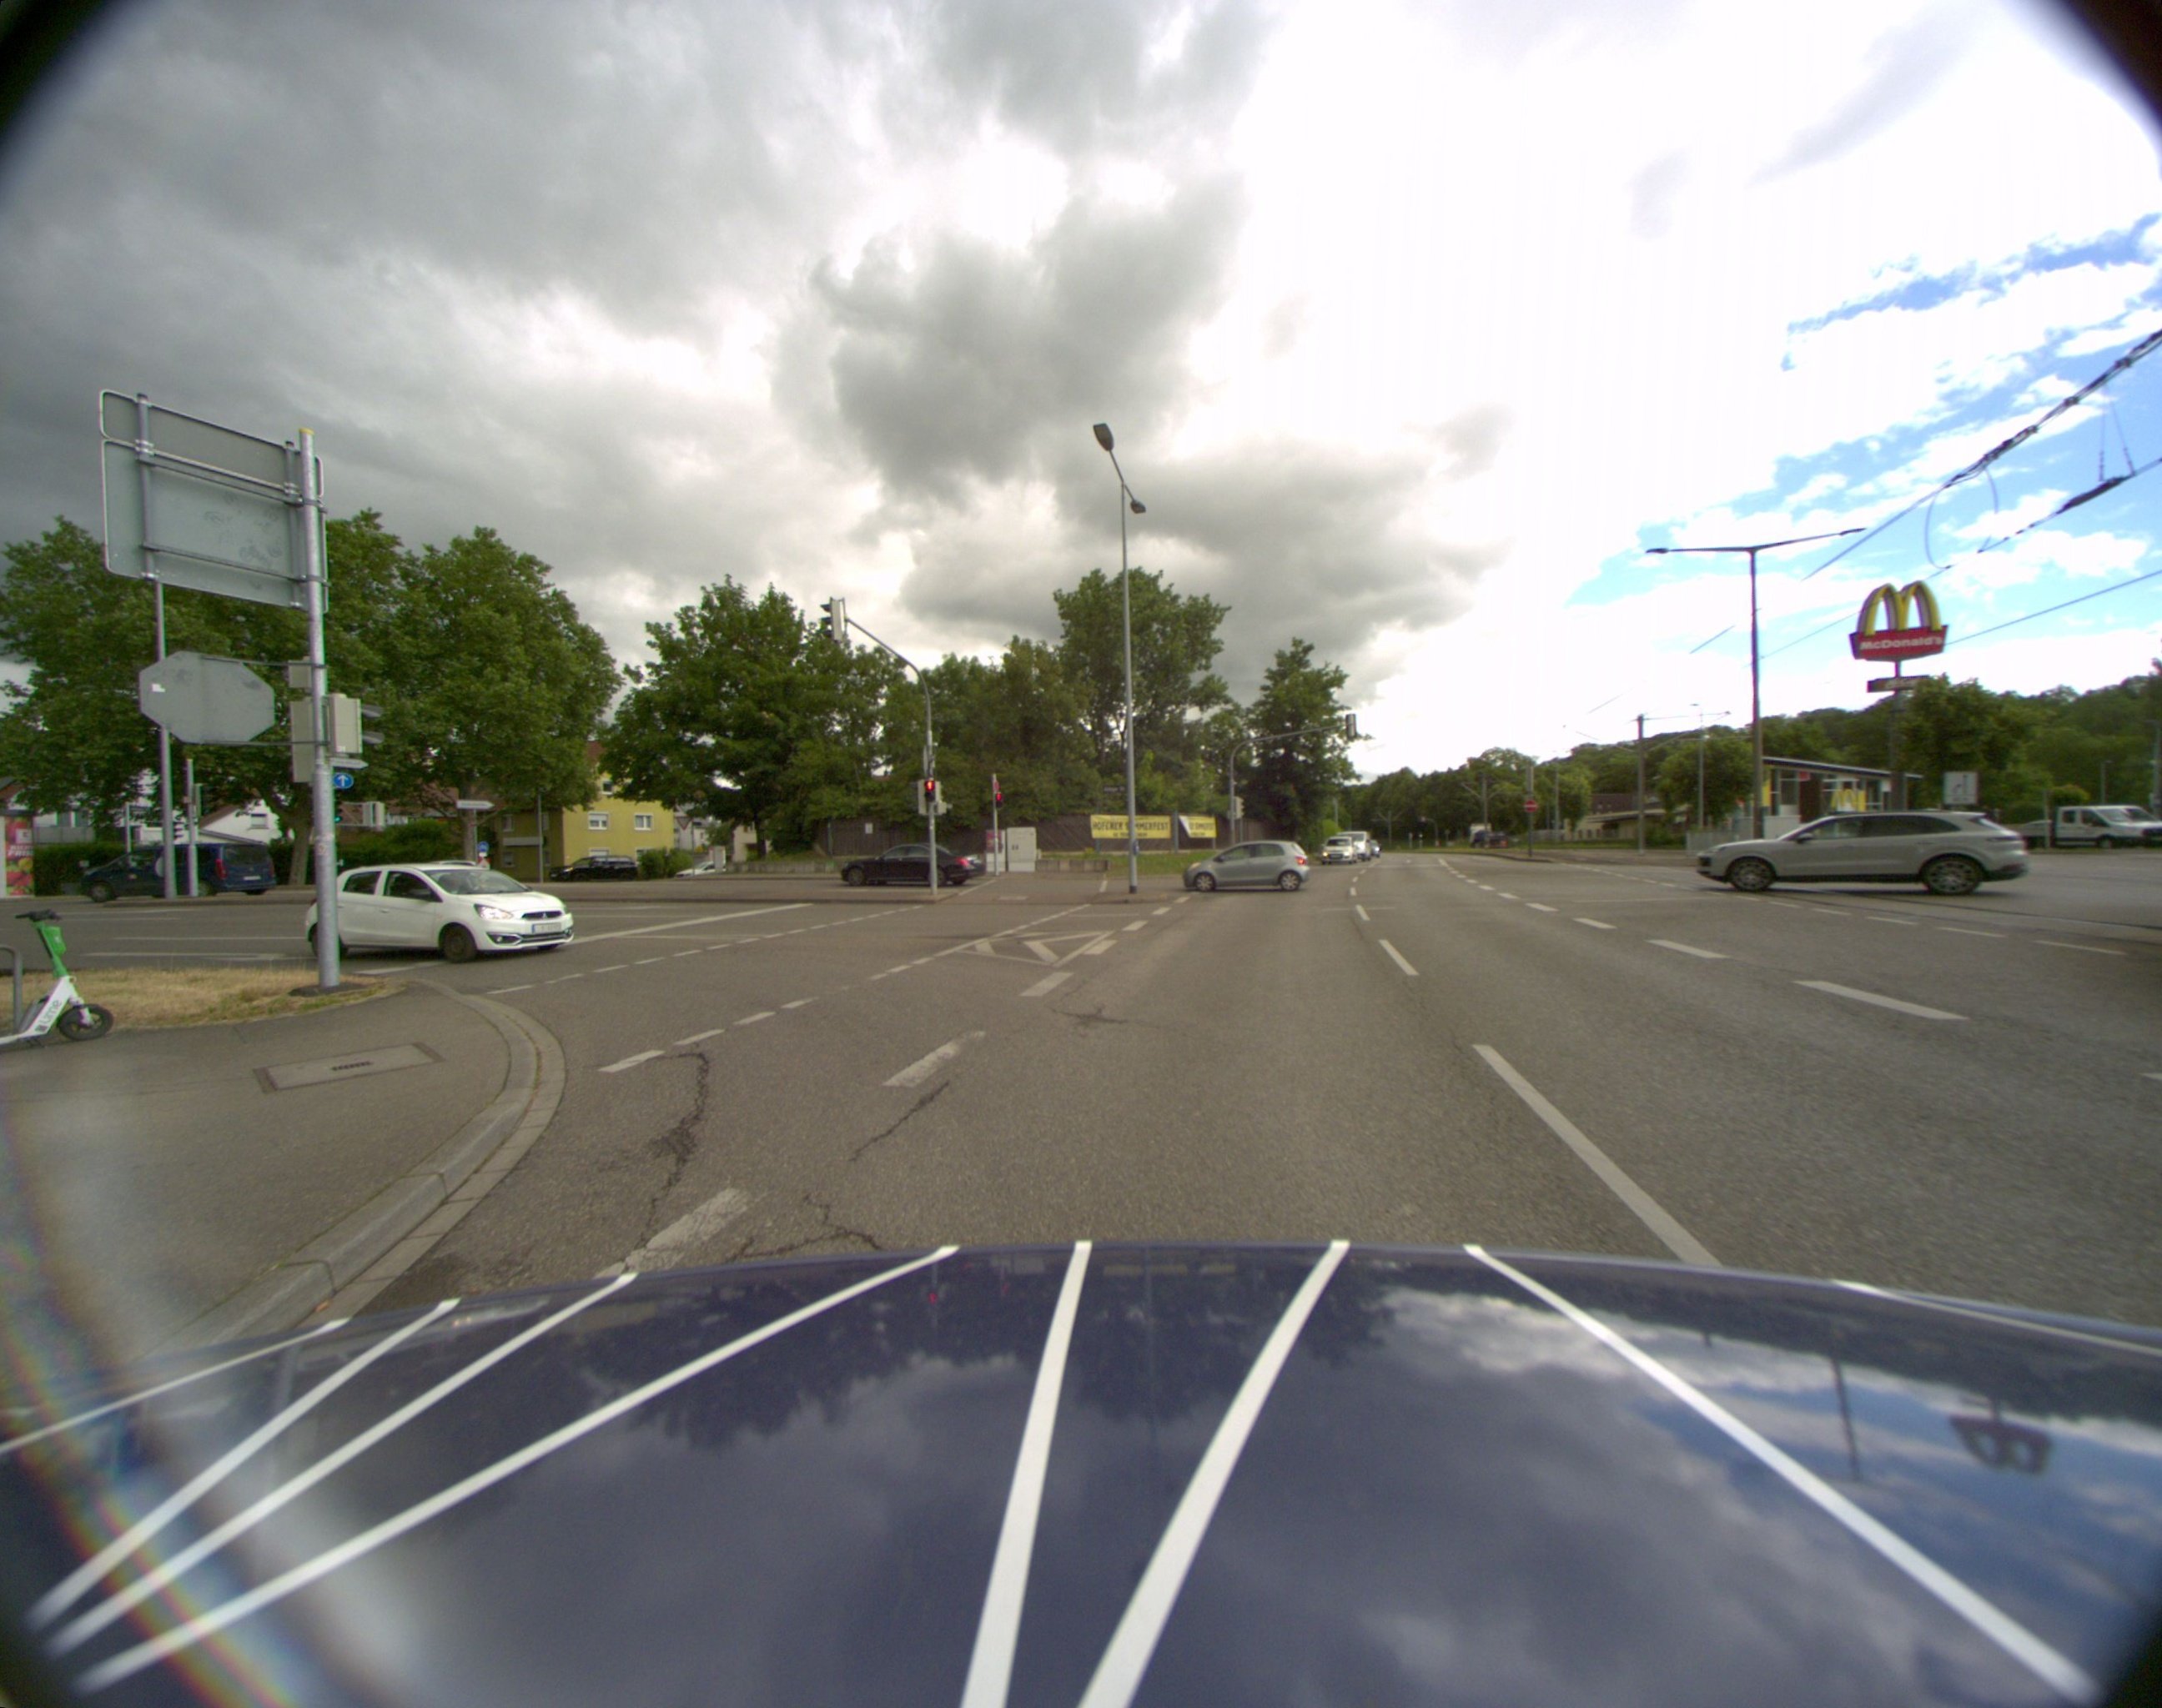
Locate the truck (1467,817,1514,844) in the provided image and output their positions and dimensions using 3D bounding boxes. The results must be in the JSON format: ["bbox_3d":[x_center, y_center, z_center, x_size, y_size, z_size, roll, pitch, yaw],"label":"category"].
[{"bbox_3d":[56.375,-3.165,104.858,3.432,3.539,8.705,0,2,12],"label":"truck"}]

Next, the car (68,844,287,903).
[{"bbox_3d":[-28.658,0.587,24.234,4.474,1.696,1.830,-1,1,-4],"label":"car"}]

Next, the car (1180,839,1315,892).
[{"bbox_3d":[5.046,0.339,22.956,3.780,1.479,1.679,-1,1,19],"label":"car"}]

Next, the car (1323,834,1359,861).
[{"bbox_3d":[14.548,-0.400,42.400,1.717,1.410,4.005,1,2,22],"label":"car"}]

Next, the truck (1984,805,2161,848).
[{"bbox_3d":[48.509,-1.304,36.915,2.597,1.894,6.202,0,2,11],"label":"truck"}]

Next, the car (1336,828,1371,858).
[{"bbox_3d":[17.309,-0.703,48.148,1.806,1.815,4.006,-1,1,23],"label":"car"}]

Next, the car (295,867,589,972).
[{"bbox_3d":[-10.127,0.996,12.152,3.598,1.440,1.676,-1,2,12],"label":"car"}]

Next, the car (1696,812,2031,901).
[{"bbox_3d":[16.486,0.010,16.362,1.680,1.633,4.841,-4,3,-42],"label":"car"}]

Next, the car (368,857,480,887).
[{"bbox_3d":[-32.989,0.893,38.257,1.808,1.313,3.808,-1,1,20],"label":"car"}]

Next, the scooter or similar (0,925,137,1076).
[{"bbox_3d":[-8.791,1.194,6.156,0.654,1.105,1.232,-1,1,14],"label":"scooter or similar"}]

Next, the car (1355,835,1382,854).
[{"bbox_3d":[24.921,-0.856,65.749,1.995,1.527,4.006,1,2,24],"label":"car"}]

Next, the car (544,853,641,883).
[{"bbox_3d":[-29.366,0.815,45.842,1.807,1.643,4.599,-1,1,26],"label":"car"}]

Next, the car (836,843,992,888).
[{"bbox_3d":[-5.757,0.356,26.376,4.985,1.442,1.833,0,2,15],"label":"car"}]

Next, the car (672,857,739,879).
[{"bbox_3d":[-26.078,0.931,52.902,1.658,1.390,3.886,1,2,30],"label":"car"}]
